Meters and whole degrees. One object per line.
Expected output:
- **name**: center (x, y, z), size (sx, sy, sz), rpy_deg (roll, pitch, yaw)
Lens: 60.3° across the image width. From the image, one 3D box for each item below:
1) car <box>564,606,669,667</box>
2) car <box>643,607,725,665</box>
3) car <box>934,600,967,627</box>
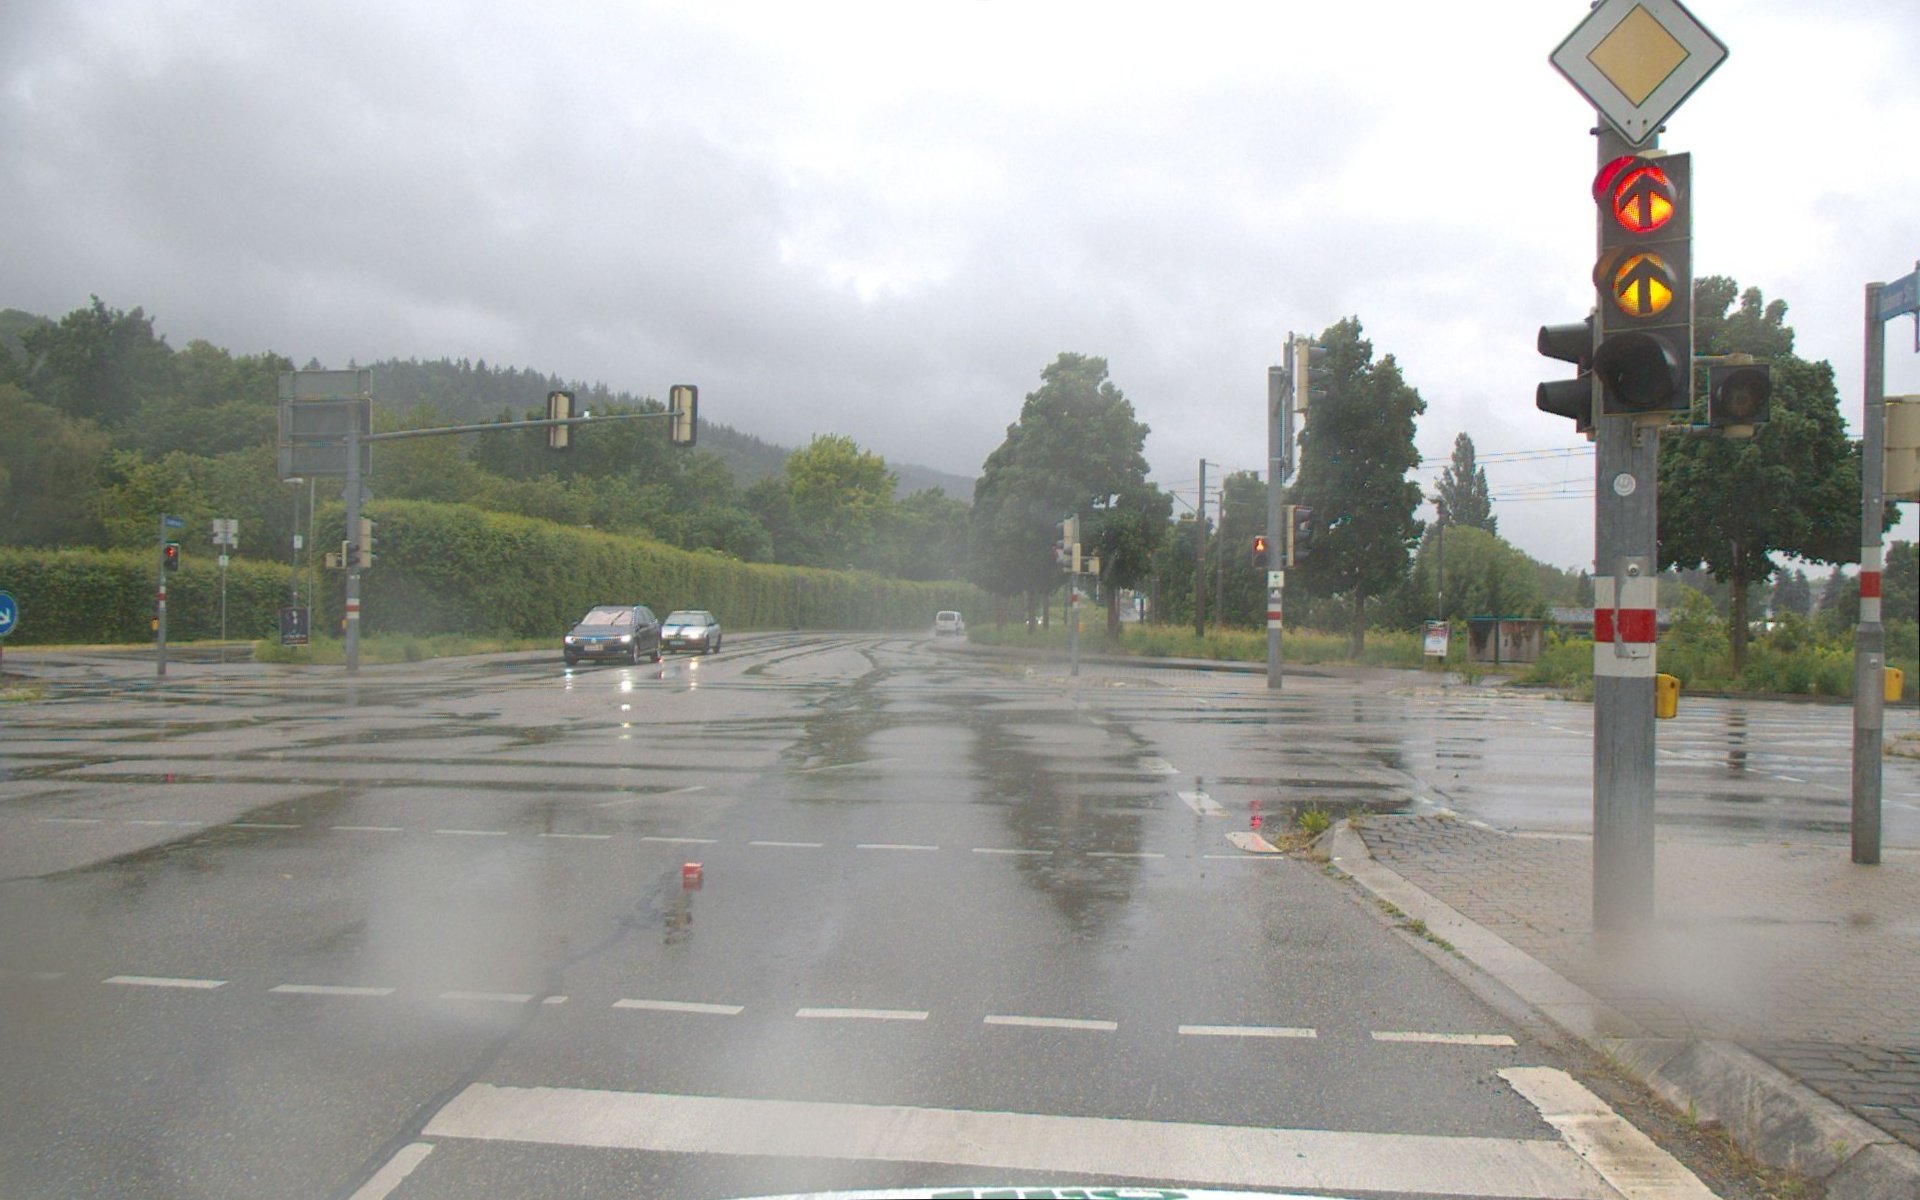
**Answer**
- **car**: center (-8.918, 0.913, 43.276), size (1.673, 1.491, 4.454), rpy_deg (0, 0, 2)
- **car**: center (-8.917, 1.135, 53.735), size (1.995, 1.738, 4.065), rpy_deg (1, 0, -1)
- **car**: center (-0.676, 1.011, 124.032), size (1.912, 1.937, 4.123), rpy_deg (0, 0, 7)
